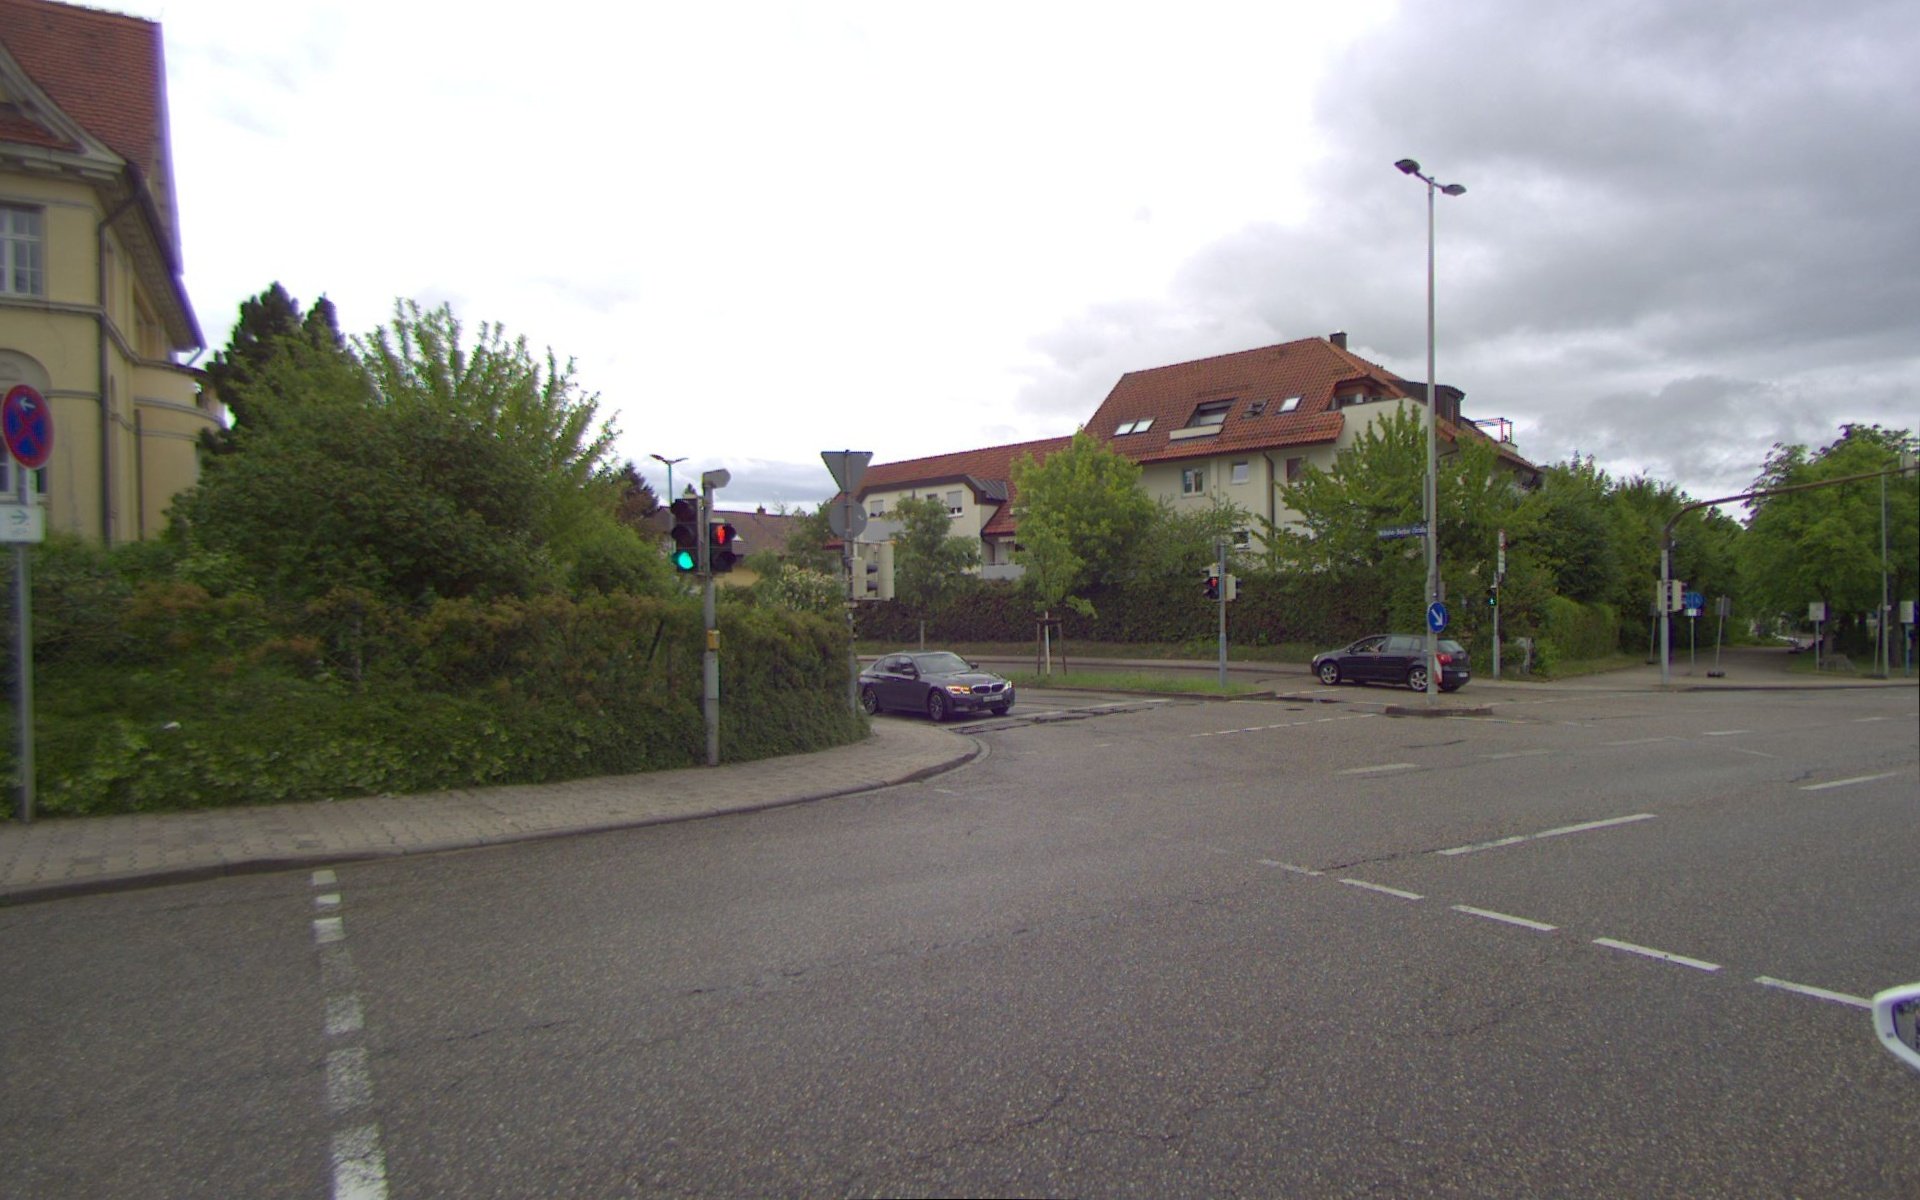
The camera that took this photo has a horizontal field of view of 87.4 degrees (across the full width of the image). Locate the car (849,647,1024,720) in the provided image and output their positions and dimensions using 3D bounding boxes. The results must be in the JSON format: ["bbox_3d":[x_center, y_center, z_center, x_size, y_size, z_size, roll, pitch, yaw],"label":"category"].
[{"bbox_3d":[-0.642,1.844,22.810,1.759,1.411,4.391,-1,-2,-36],"label":"car"}]

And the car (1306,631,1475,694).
[{"bbox_3d":[11.293,1.589,26.403,3.928,1.499,1.763,0,-1,30],"label":"car"}]
